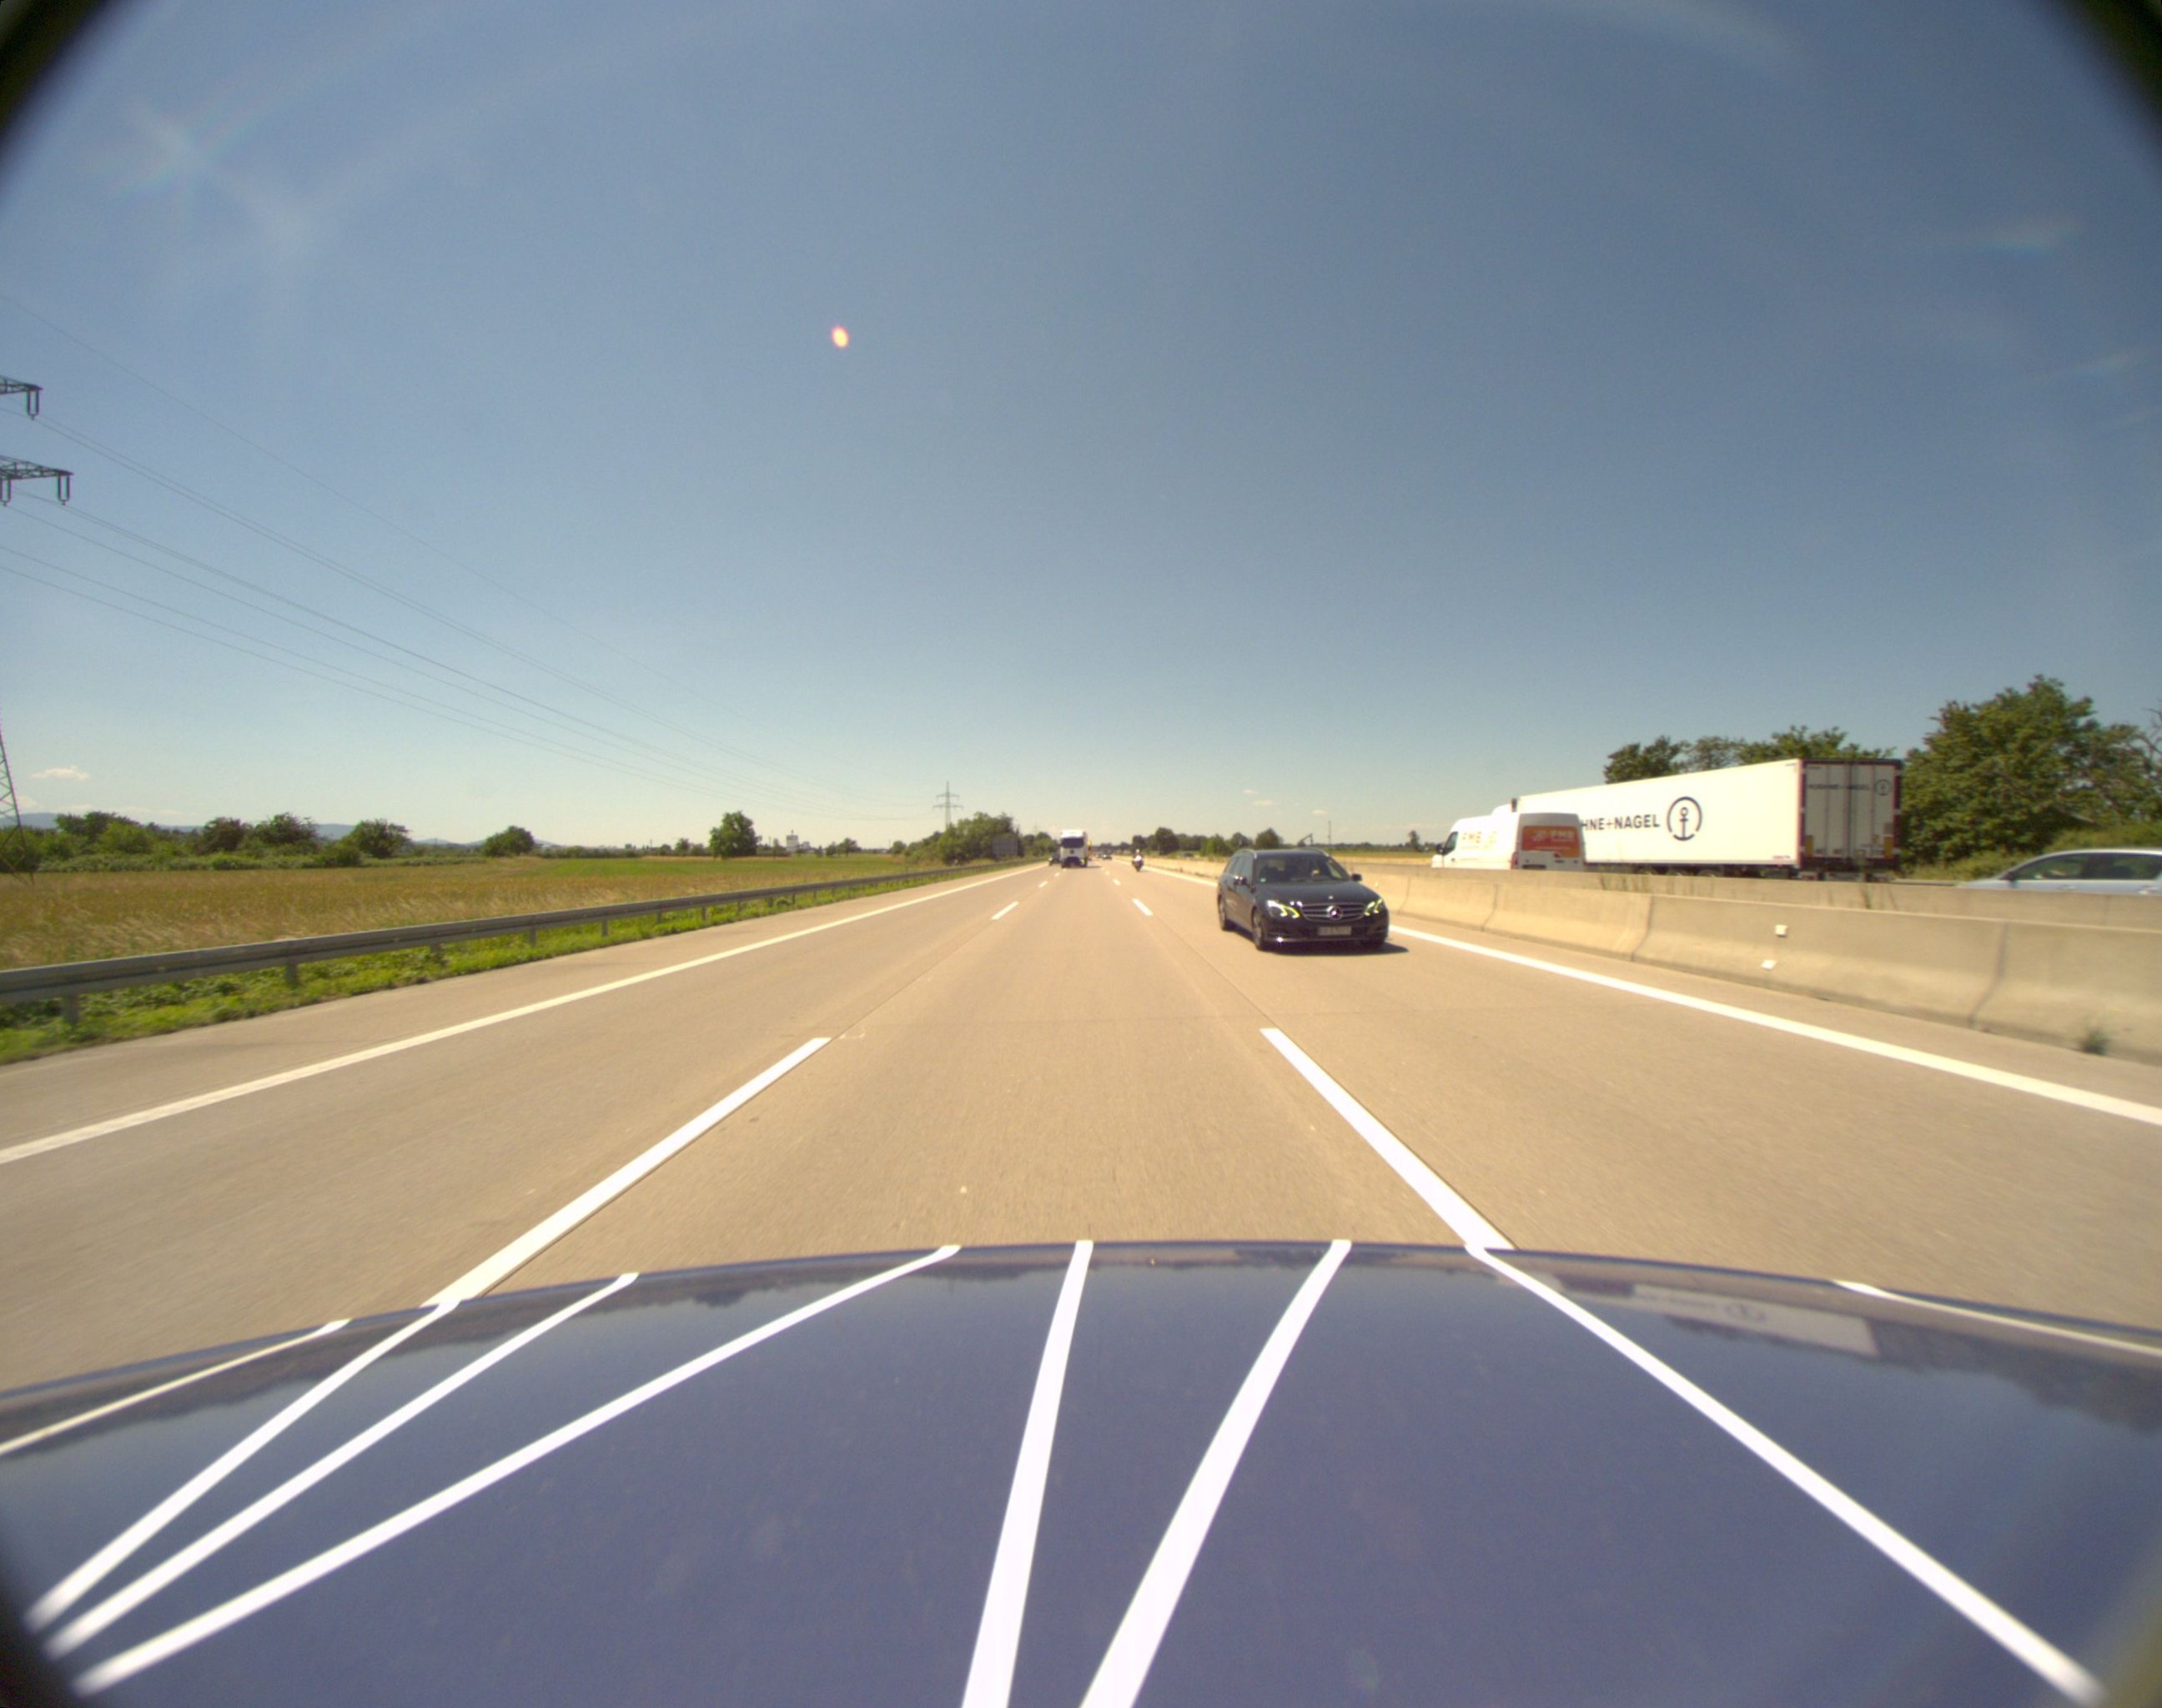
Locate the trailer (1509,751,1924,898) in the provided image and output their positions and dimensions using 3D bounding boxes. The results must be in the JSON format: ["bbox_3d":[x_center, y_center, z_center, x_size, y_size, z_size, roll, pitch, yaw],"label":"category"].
[{"bbox_3d":[20.902,-0.801,27.293,3.169,3.816,14.030,-2,0,0],"label":"trailer"}]

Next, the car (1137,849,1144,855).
[{"bbox_3d":[19.752,-0.530,252.623,1.998,1.903,4.402,-2,0,2],"label":"car"}]

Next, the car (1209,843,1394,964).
[{"bbox_3d":[3.325,0.665,12.293,1.848,1.576,3.940,-2,0,1],"label":"car"}]

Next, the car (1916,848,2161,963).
[{"bbox_3d":[16.702,0.743,12.401,1.824,1.652,4.000,-1,0,2],"label":"car"}]

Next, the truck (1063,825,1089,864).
[{"bbox_3d":[-0.522,-0.952,80.087,2.587,3.855,4.983,-2,0,0],"label":"truck"}]

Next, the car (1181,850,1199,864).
[{"bbox_3d":[16.332,0.438,113.846,1.998,1.871,4.692,-2,0,1],"label":"car"}]

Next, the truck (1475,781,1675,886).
[{"bbox_3d":[20.923,-0.797,33.025,3.169,3.886,8.372,-2,0,0],"label":"truck"}]

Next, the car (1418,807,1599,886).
[{"bbox_3d":[12.557,-0.215,22.951,2.073,2.002,5.980,-2,0,0],"label":"car"}]

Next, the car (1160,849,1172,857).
[{"bbox_3d":[19.441,-0.196,173.871,1.999,1.827,4.815,-2,0,-2],"label":"car"}]

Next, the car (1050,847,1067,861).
[{"bbox_3d":[-3.005,0.013,102.823,1.998,1.772,4.000,-2,0,3],"label":"car"}]

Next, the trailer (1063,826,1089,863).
[{"bbox_3d":[-0.528,-0.999,85.272,2.587,3.855,10.372,-2,0,0],"label":"trailer"}]

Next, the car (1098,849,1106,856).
[{"bbox_3d":[6.069,-0.340,217.326,1.999,1.827,4.815,-2,0,-2],"label":"car"}]

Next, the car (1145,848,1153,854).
[{"bbox_3d":[21.088,-1.059,235.569,1.998,1.772,4.000,-2,0,0],"label":"car"}]
